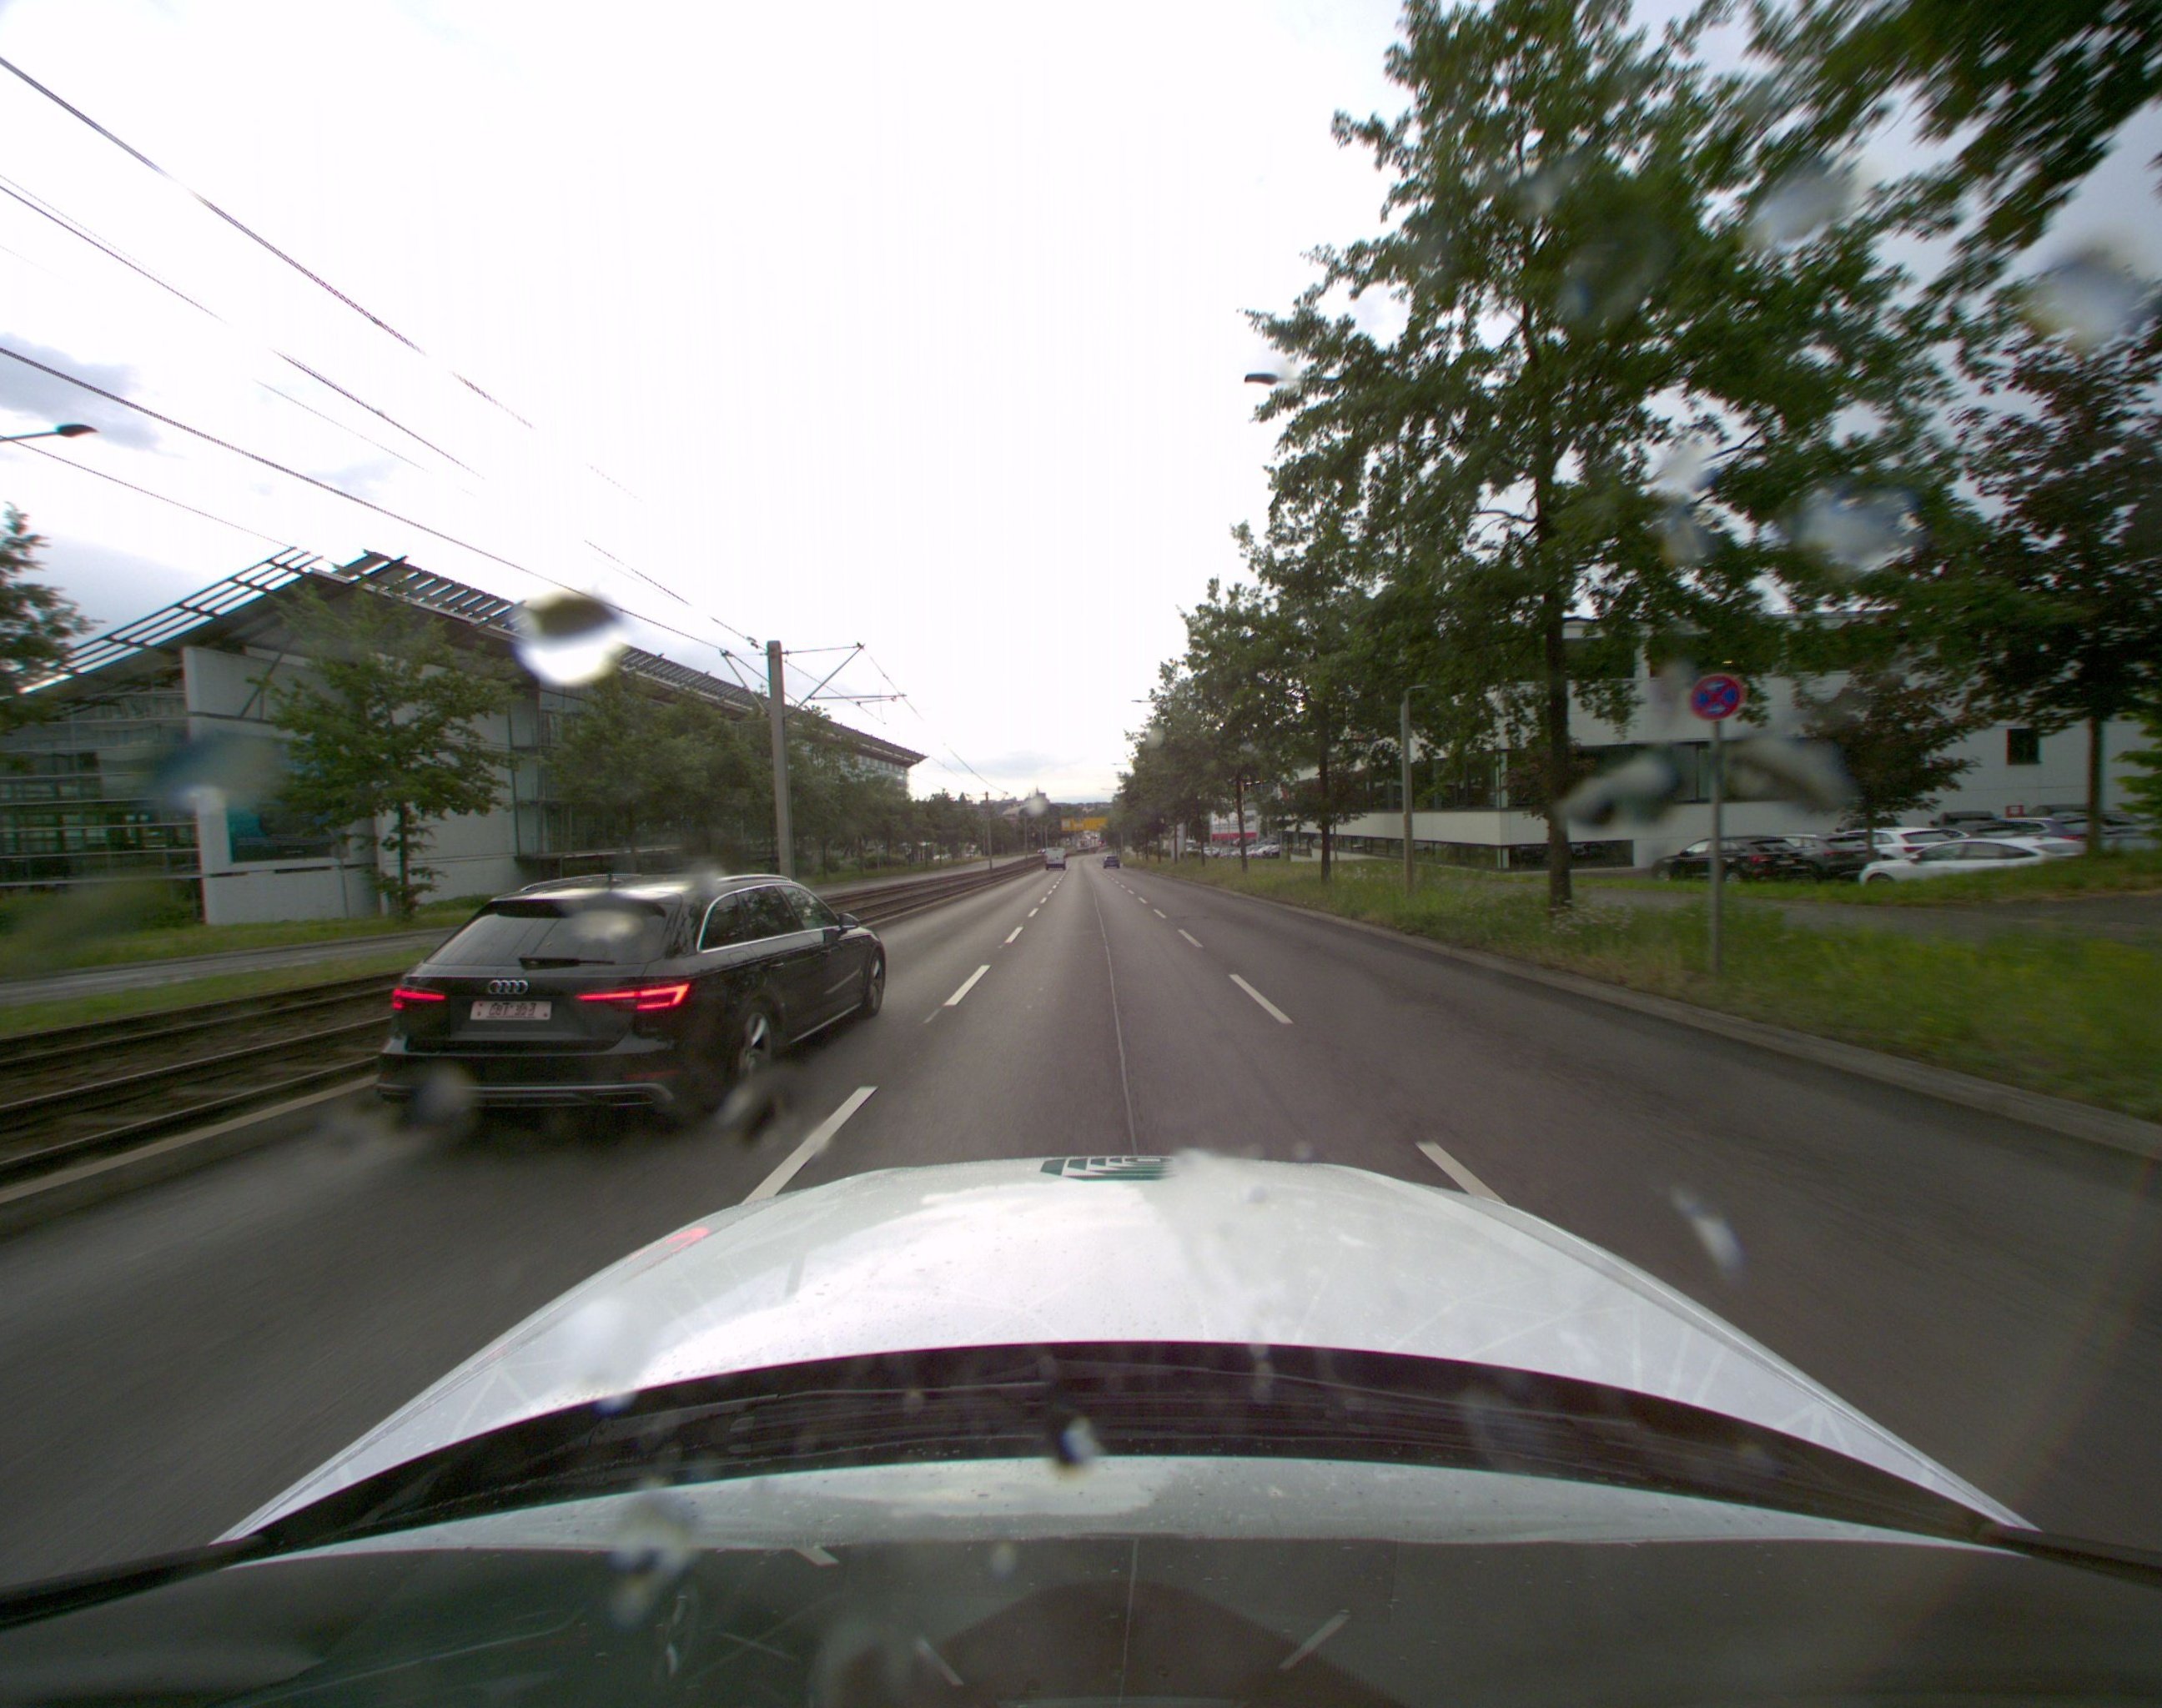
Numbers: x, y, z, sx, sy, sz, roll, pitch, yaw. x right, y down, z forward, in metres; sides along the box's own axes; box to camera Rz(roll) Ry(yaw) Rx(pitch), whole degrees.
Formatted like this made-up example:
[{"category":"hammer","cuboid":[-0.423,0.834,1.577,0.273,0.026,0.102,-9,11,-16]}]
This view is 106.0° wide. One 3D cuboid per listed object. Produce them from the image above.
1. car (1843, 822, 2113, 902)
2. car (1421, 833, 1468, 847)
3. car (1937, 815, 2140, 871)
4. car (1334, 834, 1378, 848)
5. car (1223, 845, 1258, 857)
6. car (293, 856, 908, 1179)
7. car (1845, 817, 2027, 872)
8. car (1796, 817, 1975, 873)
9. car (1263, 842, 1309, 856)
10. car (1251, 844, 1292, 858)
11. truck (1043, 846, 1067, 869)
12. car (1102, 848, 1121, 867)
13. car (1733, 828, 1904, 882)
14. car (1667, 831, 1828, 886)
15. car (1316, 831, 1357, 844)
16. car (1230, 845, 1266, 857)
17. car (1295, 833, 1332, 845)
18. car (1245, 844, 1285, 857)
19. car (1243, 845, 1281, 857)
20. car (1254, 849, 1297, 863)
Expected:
[{"category":"car","cuboid":[20.579,0.160,18.985,1.858,1.643,4.005,-1,0,-2]},{"category":"car","cuboid":[37.100,-1.379,83.241,3.968,1.354,2.003,-1,0,4]},{"category":"car","cuboid":[30.360,-0.325,26.036,1.856,1.643,4.010,-1,0,2]},{"category":"car","cuboid":[28.331,-1.332,84.107,3.968,1.354,2.003,-1,0,4]},{"category":"car","cuboid":[19.529,-0.363,99.794,3.968,1.354,2.003,-1,0,4]},{"category":"car","cuboid":[-2.817,0.790,6.320,1.784,1.434,4.830,-1,1,1]},{"category":"car","cuboid":[27.852,-0.300,26.742,1.855,1.643,4.010,-1,0,2]},{"category":"car","cuboid":[25.519,-0.274,26.049,1.856,1.643,4.010,-1,0,2]},{"category":"car","cuboid":[19.784,-0.468,78.683,3.968,1.354,2.003,-1,0,4]},{"category":"car","cuboid":[19.701,-0.339,84.365,3.968,1.354,2.003,-1,0,4]},{"category":"truck","cuboid":[-2.645,0.348,84.919,2.353,2.262,5.304,-1,0,0]},{"category":"car","cuboid":[3.344,0.335,90.065,1.986,2.013,3.936,-1,0,2]},{"category":"car","cuboid":[23.027,0.032,25.662,1.856,1.545,4.010,-1,0,2]},{"category":"car","cuboid":[20.604,0.123,25.425,1.856,1.545,4.010,-1,0,2]},{"category":"car","cuboid":[28.314,-1.825,90.307,3.968,1.354,2.003,-1,0,4]},{"category":"car","cuboid":[19.784,-0.360,96.721,3.968,1.354,2.003,-1,0,4]},{"category":"car","cuboid":[27.693,-1.830,97.211,3.968,1.354,2.003,-1,0,4]},{"category":"car","cuboid":[19.629,-0.343,87.133,3.968,1.354,2.003,-1,0,4]},{"category":"car","cuboid":[20.789,-0.366,93.723,3.968,1.354,2.003,-1,0,4]},{"category":"car","cuboid":[19.503,0.194,81.772,3.968,1.354,2.003,-1,0,4]}]
